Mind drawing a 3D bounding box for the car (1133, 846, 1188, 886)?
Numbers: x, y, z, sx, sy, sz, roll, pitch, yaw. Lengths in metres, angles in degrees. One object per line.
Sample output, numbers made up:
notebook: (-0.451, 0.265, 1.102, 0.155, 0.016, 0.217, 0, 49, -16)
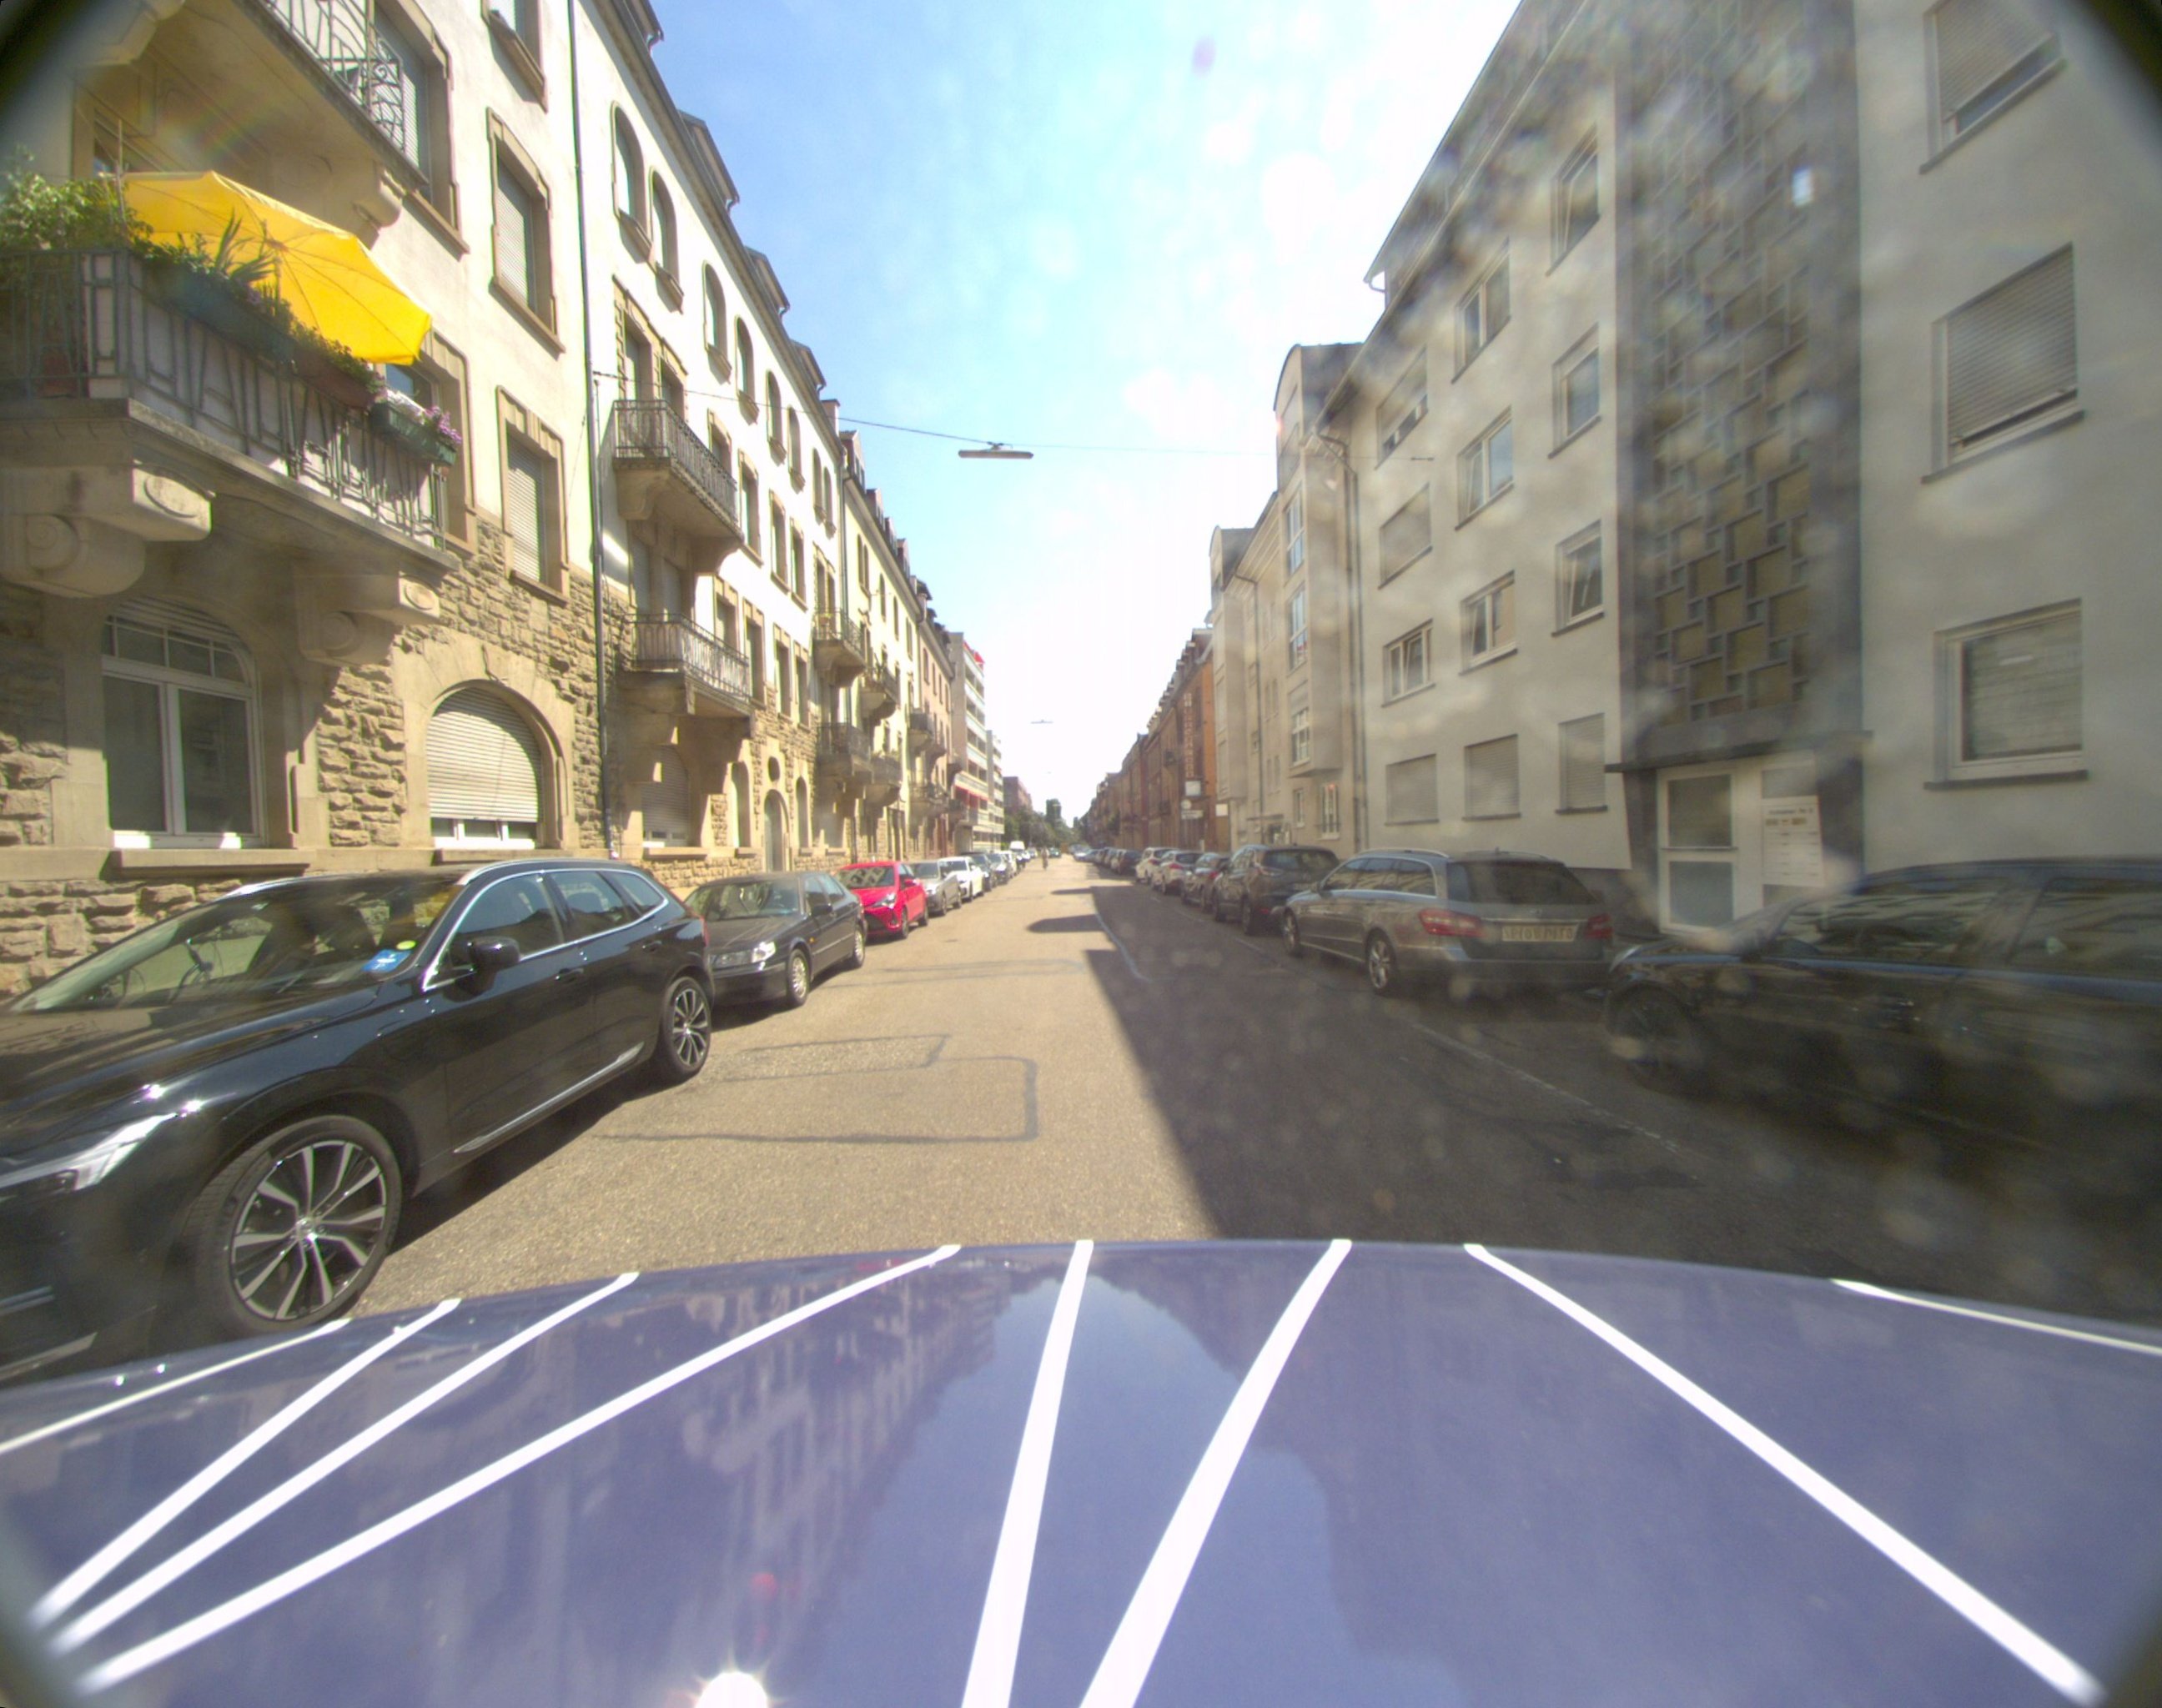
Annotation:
car: (3.420, 0.473, 33.282, 1.633, 1.540, 3.851, 2, 1, -5)

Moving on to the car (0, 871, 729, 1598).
car: (-3.636, 1.008, 3.690, 1.838, 1.558, 4.602, -4, 1, -4)

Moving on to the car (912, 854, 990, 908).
car: (-4.292, 0.839, 25.731, 1.721, 1.444, 4.596, -4, 1, 0)

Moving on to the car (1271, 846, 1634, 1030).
car: (3.710, 0.681, 8.710, 1.661, 1.510, 4.669, 0, 1, -3)

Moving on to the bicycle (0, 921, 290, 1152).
bicycle: (-6.671, 1.171, 5.316, 0.385, 1.201, 1.774, -1, 1, -1)

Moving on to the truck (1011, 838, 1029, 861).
truck: (-7.550, -0.619, 94.188, 1.870, 2.715, 4.506, -1, 1, -2)

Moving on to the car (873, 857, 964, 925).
car: (-4.245, 0.911, 20.361, 1.594, 1.444, 3.855, -4, 1, -1)

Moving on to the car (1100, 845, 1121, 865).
car: (2.481, 0.048, 64.679, 1.450, 1.633, 3.524, 2, 1, -3)

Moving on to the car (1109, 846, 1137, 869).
car: (2.976, 0.215, 54.150, 1.450, 1.534, 3.523, 2, 1, -5)

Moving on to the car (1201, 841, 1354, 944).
car: (3.453, 0.587, 14.115, 1.608, 1.635, 3.975, 0, 1, -3)

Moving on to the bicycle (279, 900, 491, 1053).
bicycle: (-6.782, 1.127, 7.542, 0.442, 1.201, 1.774, -1, 1, -1)

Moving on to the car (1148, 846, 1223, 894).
car: (3.506, 0.493, 26.262, 1.735, 1.486, 4.346, 1, 1, -3)

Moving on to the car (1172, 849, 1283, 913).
car: (3.579, 0.605, 19.327, 1.770, 1.385, 4.346, 0, 1, -3)

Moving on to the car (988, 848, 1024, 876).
car: (-4.688, 0.479, 47.904, 1.652, 1.613, 4.091, -1, 1, 2)

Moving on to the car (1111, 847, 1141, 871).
car: (2.878, 0.312, 49.277, 1.633, 1.421, 3.677, 2, 1, -1)

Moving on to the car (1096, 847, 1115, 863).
car: (2.236, 0.094, 69.610, 1.450, 1.391, 3.525, 2, 1, -1)

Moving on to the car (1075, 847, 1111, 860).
car: (1.340, -0.063, 85.647, 3.997, 1.422, 1.677, -1, 1, -1)

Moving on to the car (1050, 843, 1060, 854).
car: (-4.209, -0.868, 122.110, 1.625, 1.601, 3.596, -1, 1, -2)

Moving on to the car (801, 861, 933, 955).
car: (-4.098, 0.957, 15.154, 1.575, 1.444, 3.841, -4, 1, -2)

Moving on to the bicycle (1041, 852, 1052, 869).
bicycle: (-2.528, 0.478, 55.993, 0.671, 1.169, 2.093, -1, 1, -1)

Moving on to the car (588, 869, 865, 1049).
car: (-3.765, 0.989, 8.868, 1.516, 1.391, 3.970, -4, 1, -4)

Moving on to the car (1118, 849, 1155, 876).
car: (3.150, 0.447, 43.943, 1.782, 1.421, 3.835, 2, 1, -1)

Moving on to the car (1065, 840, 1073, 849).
car: (-2.835, -2.318, 183.483, 1.785, 2.002, 3.999, -2, 1, 1)

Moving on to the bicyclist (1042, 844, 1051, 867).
bicyclist: (-2.547, 0.088, 56.050, 0.645, 1.640, 0.622, -1, 2, -1)

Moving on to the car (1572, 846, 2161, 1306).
car: (4.280, 0.725, 3.330, 1.571, 1.483, 3.892, 0, 1, -3)

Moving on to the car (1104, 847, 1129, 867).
car: (2.709, 0.195, 58.488, 1.450, 1.464, 3.524, 2, 1, -4)

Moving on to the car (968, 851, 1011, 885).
car: (-4.417, 0.636, 37.229, 1.828, 1.424, 4.487, -3, 1, -4)

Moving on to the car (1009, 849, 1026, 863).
car: (-7.324, 0.209, 87.814, 1.718, 1.543, 3.998, -1, 1, -2)

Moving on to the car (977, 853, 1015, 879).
car: (-4.737, 0.651, 42.864, 1.791, 1.350, 4.351, -1, 0, -2)

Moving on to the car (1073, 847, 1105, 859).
car: (0.943, -0.129, 96.602, 3.997, 1.492, 1.652, -1, 1, -1)

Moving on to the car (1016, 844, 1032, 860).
car: (-7.458, -0.257, 100.030, 1.903, 2.002, 3.998, -1, 1, -2)

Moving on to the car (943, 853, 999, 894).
car: (-4.431, 0.727, 31.267, 1.741, 1.449, 4.666, -1, 1, -2)
